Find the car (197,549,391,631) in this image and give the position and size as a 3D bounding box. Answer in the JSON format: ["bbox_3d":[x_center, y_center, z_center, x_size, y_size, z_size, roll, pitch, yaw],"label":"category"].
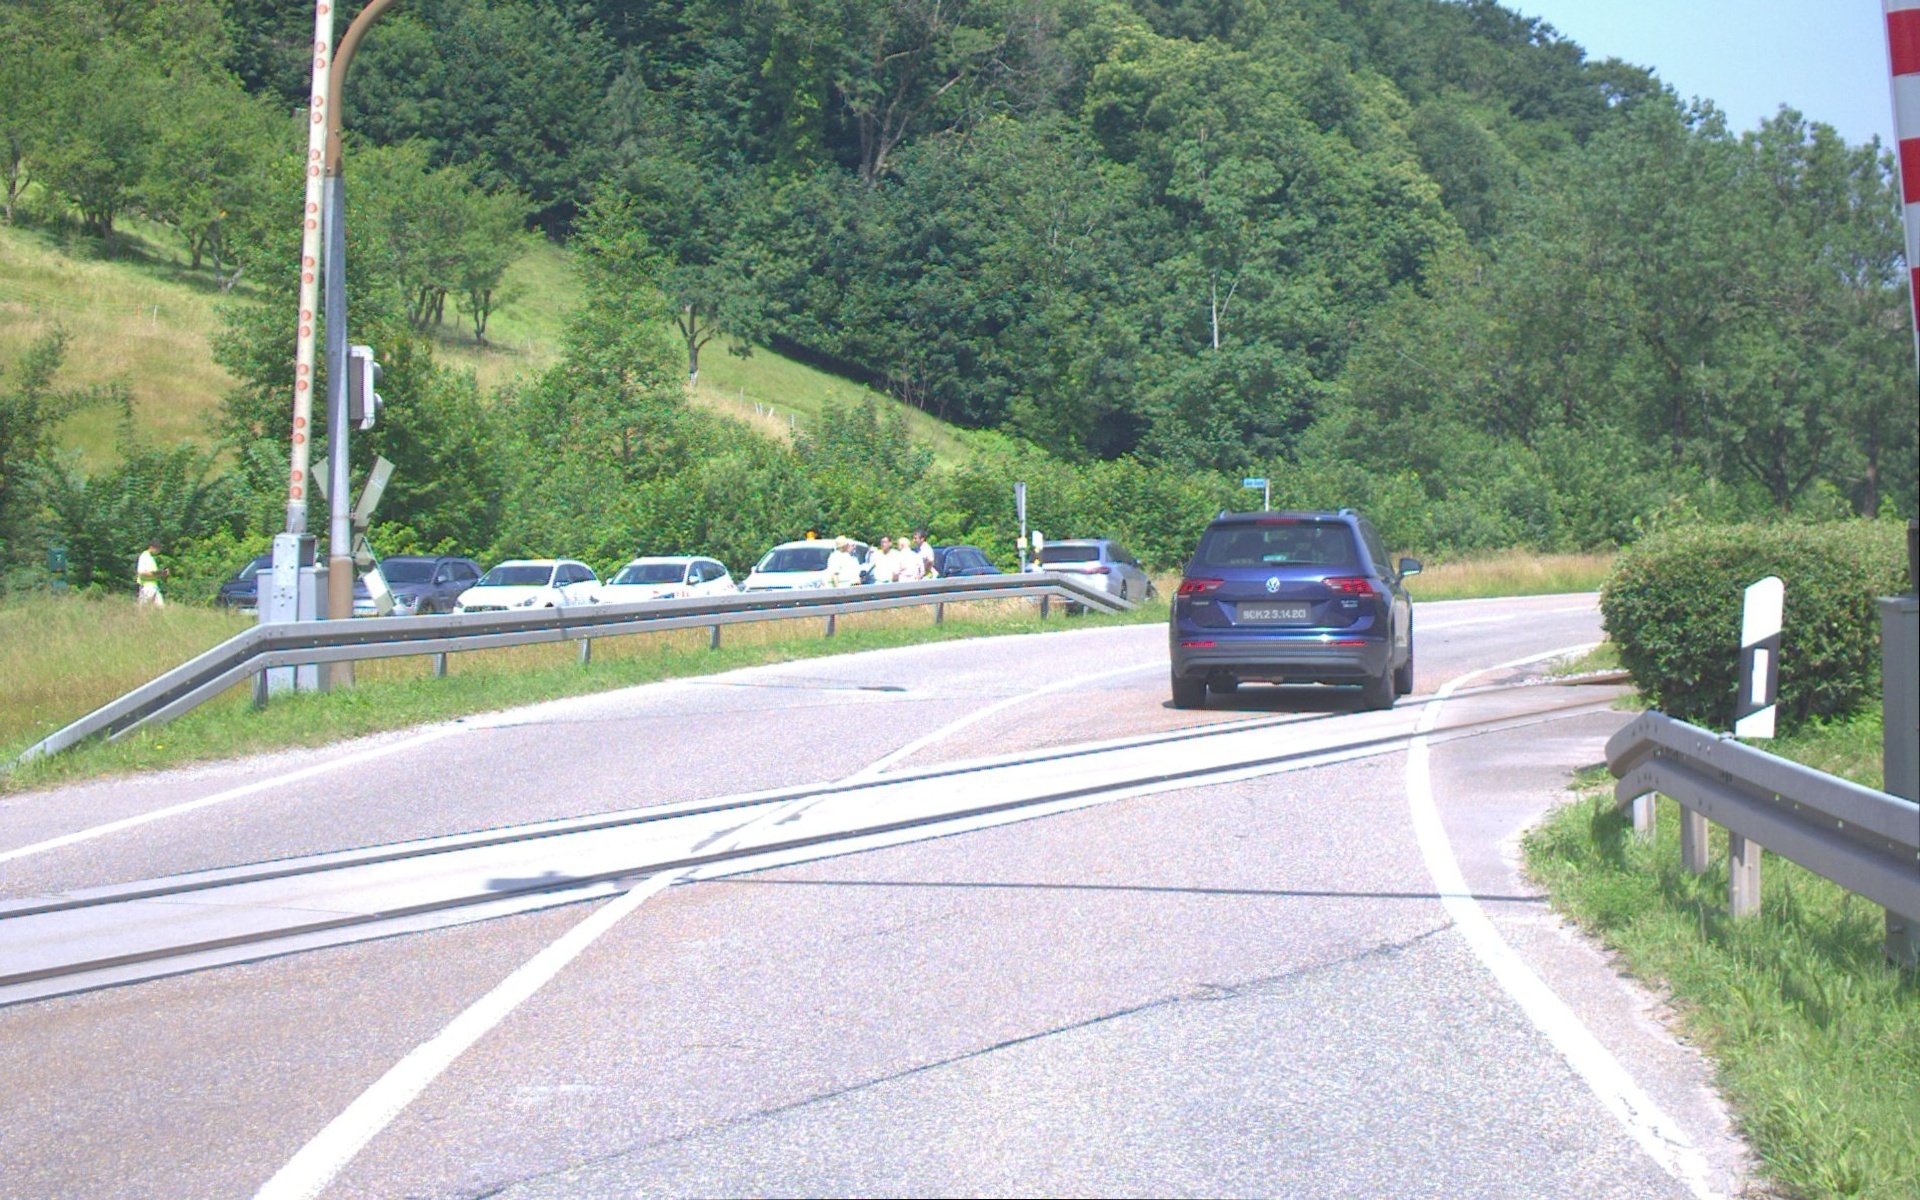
[{"bbox_3d":[-13.023,-0.219,67.487,1.995,1.495,4.519,-2,1,14],"label":"car"}]

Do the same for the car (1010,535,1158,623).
[{"bbox_3d":[2.293,-0.407,62.632,1.827,1.495,4.275,-2,1,14],"label":"car"}]

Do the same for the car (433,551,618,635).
[{"bbox_3d":[-8.299,-0.162,66.078,1.995,1.495,4.519,-2,1,14],"label":"car"}]

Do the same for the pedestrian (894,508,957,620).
[{"bbox_3d":[-0.582,-0.612,58.038,0.769,1.852,0.649,-2,0,-40],"label":"pedestrian"}]

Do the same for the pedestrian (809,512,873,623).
[{"bbox_3d":[-1.990,-0.541,57.585,0.789,1.836,0.697,-1,1,27],"label":"pedestrian"}]

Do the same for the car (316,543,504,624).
[{"bbox_3d":[-10.627,-0.342,66.768,1.995,1.495,4.519,1,1,14],"label":"car"}]

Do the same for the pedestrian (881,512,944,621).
[{"bbox_3d":[-0.806,-0.573,58.793,0.769,1.834,0.649,-2,0,-41],"label":"pedestrian"}]

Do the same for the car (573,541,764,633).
[{"bbox_3d":[-5.519,-0.279,65.770,1.995,1.636,4.898,-2,1,16],"label":"car"}]

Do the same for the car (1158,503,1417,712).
[{"bbox_3d":[2.865,0.011,29.316,1.853,1.643,4.138,0,1,10],"label":"car"}]

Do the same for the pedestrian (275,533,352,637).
[{"bbox_3d":[-11.388,-0.267,60.570,0.954,1.788,0.999,-2,1,13],"label":"pedestrian"}]

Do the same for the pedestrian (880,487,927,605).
[{"bbox_3d":[-0.944,-0.901,57.728,0.660,1.948,0.533,-2,1,6],"label":"pedestrian"}]

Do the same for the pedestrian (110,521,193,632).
[{"bbox_3d":[-14.708,-0.429,62.526,1.128,1.962,0.860,-2,0,32],"label":"pedestrian"}]

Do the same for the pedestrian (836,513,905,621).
[{"bbox_3d":[-1.512,-0.559,58.300,0.770,1.790,0.792,-2,0,43],"label":"pedestrian"}]

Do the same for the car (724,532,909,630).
[{"bbox_3d":[-2.679,-0.392,65.439,1.873,1.776,4.768,-1,1,19],"label":"car"}]
